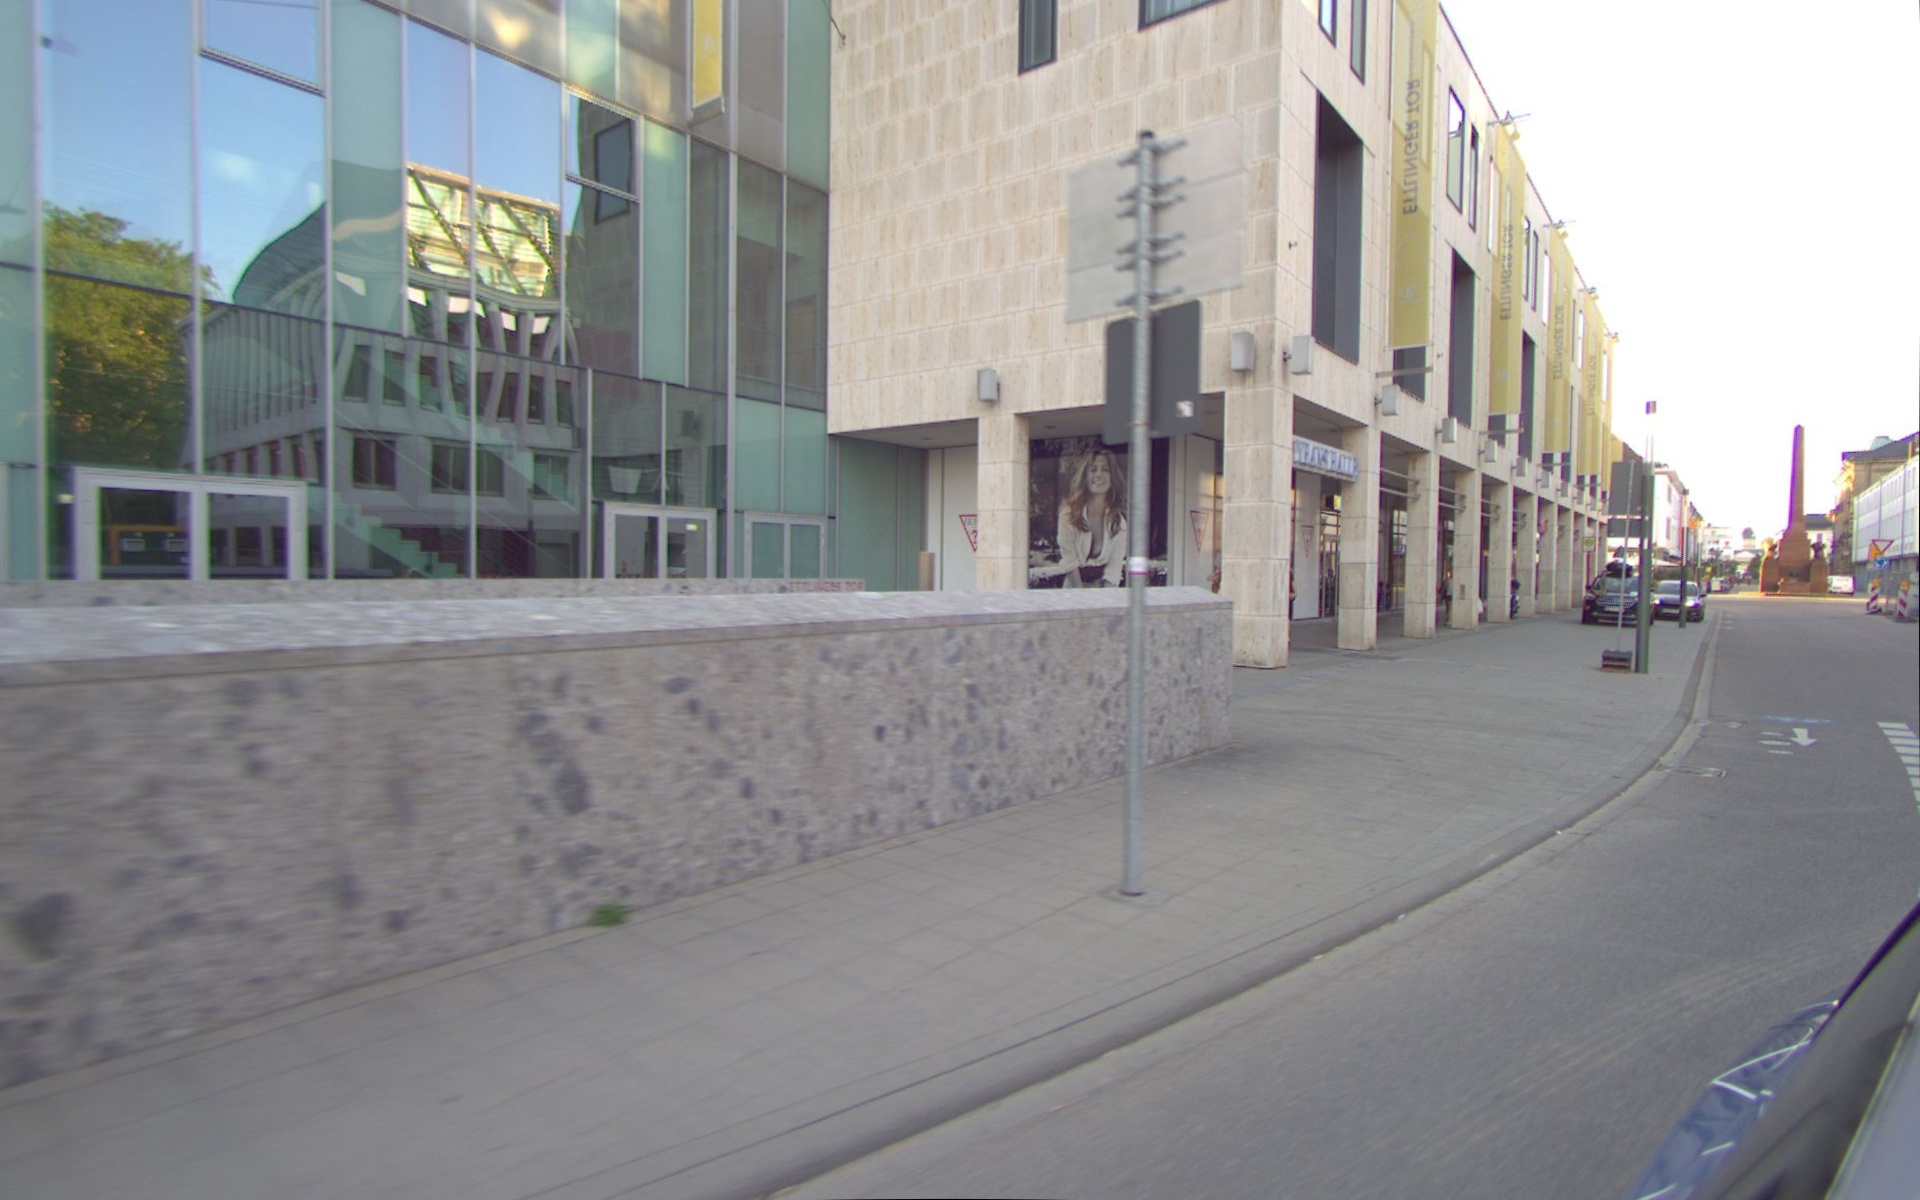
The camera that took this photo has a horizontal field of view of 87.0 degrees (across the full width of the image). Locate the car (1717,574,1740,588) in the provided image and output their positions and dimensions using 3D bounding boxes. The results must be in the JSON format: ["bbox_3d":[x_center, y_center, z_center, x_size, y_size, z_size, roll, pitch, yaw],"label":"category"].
[{"bbox_3d":[77.102,-1.924,101.596,1.773,1.442,3.908,2,2,37],"label":"car"}]

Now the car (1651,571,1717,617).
[{"bbox_3d":[27.531,-0.280,38.433,1.793,1.508,4.136,6,5,38],"label":"car"}]

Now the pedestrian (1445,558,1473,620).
[{"bbox_3d":[14.106,-0.318,28.606,0.589,1.719,0.687,2,2,36],"label":"pedestrian"}]

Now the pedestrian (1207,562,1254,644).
[{"bbox_3d":[5.334,0.040,19.955,0.632,1.561,0.765,1,2,37],"label":"pedestrian"}]

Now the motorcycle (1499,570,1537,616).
[{"bbox_3d":[18.175,-0.256,32.951,0.692,1.434,2.105,2,2,40],"label":"motorcycle"}]

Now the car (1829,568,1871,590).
[{"bbox_3d":[79.131,-1.908,90.059,2.006,1.848,4.411,2,2,31],"label":"car"}]

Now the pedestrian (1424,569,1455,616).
[{"bbox_3d":[13.940,-0.217,29.435,0.632,1.362,0.764,2,0,37],"label":"pedestrian"}]

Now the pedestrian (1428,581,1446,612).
[{"bbox_3d":[15.560,-0.125,33.003,0.419,0.998,0.519,2,0,37],"label":"pedestrian"}]

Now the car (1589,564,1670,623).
[{"bbox_3d":[21.515,-0.249,32.473,1.766,1.657,4.002,6,5,38],"label":"car"}]

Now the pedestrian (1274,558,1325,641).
[{"bbox_3d":[6.519,-0.023,19.424,0.723,1.561,0.719,1,2,38],"label":"pedestrian"}]

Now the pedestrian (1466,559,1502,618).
[{"bbox_3d":[15.526,-0.344,29.970,0.763,1.702,0.865,2,0,37],"label":"pedestrian"}]
